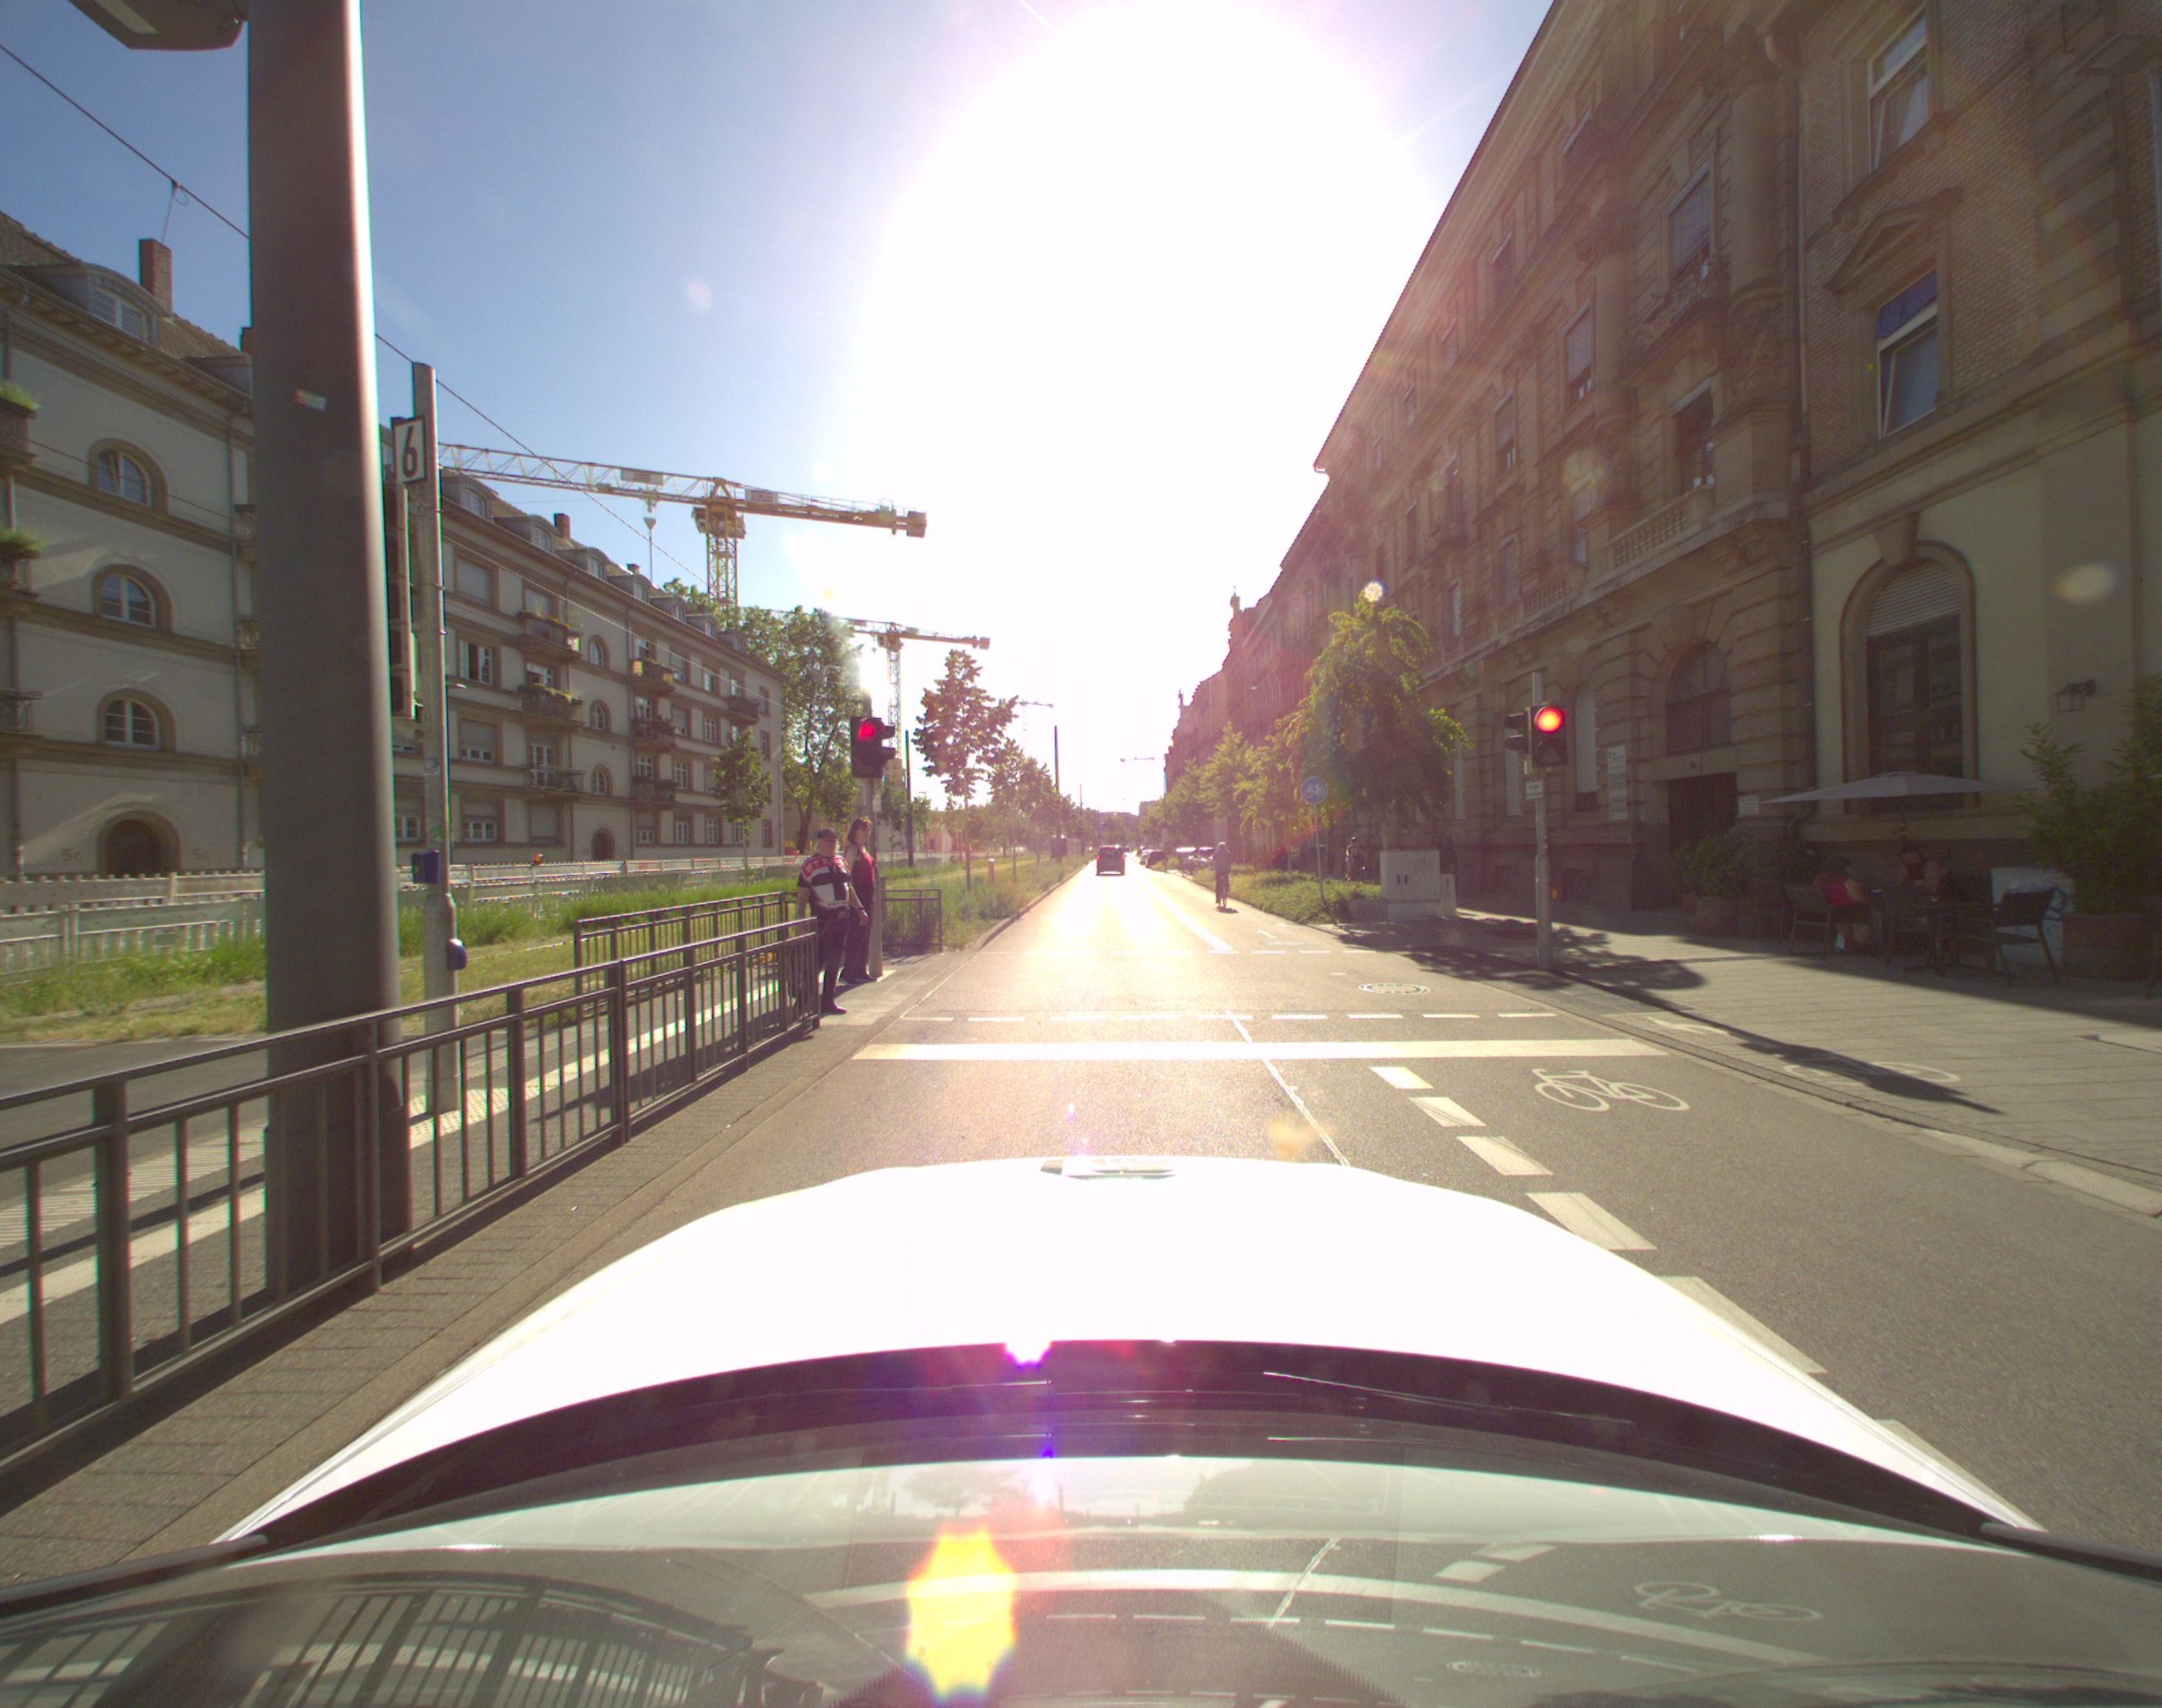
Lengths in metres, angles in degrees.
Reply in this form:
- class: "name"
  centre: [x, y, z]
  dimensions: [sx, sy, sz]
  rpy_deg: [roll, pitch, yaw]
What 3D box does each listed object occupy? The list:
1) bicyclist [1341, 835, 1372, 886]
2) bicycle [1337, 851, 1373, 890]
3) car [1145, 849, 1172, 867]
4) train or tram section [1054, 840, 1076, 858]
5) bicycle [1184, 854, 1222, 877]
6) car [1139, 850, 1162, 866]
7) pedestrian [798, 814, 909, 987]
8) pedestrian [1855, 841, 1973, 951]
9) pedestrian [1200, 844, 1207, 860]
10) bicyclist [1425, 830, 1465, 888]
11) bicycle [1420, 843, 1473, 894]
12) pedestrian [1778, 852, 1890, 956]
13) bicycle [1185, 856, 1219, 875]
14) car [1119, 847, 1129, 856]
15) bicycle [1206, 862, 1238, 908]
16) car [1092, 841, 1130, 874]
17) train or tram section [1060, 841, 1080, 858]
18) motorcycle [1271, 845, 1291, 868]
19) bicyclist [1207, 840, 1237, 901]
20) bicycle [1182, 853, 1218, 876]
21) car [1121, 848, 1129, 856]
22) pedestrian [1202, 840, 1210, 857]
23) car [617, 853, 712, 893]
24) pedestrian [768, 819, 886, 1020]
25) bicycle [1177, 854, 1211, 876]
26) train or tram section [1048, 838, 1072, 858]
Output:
- class: "bicyclist"
  centre: [9.118, 0.198, 26.981]
  dimensions: [0.664, 1.639, 0.961]
  rpy_deg: [-2, 0, 1]
- class: "bicycle"
  centre: [9.104, 0.528, 27.148]
  dimensions: [0.581, 1.222, 1.901]
  rpy_deg: [-1, 0, 2]
- class: "car"
  centre: [6.656, 0.317, 70.279]
  dimensions: [2.020, 1.499, 4.655]
  rpy_deg: [-2, 0, 2]
- class: "train or tram section"
  centre: [-2.407, -0.725, 128.485]
  dimensions: [2.745, 2.742, 9.870]
  rpy_deg: [0, 0, 3]
- class: "bicycle"
  centre: [6.346, 0.607, 42.405]
  dimensions: [1.786, 1.030, 0.528]
  rpy_deg: [-6, 0, 1]
- class: "car"
  centre: [6.974, 0.411, 82.589]
  dimensions: [2.020, 1.499, 4.532]
  rpy_deg: [-2, 0, 2]
- class: "pedestrian"
  centre: [-2.624, 0.512, 9.471]
  dimensions: [1.073, 1.908, 0.652]
  rpy_deg: [-2, 0, -5]
- class: "pedestrian"
  centre: [9.996, 0.487, 9.793]
  dimensions: [0.703, 1.236, 0.635]
  rpy_deg: [-3, 0, 1]
- class: "pedestrian"
  centre: [12.369, -0.198, 82.167]
  dimensions: [0.611, 1.611, 0.669]
  rpy_deg: [-2, 0, 1]
- class: "bicyclist"
  centre: [10.212, 0.126, 22.850]
  dimensions: [0.657, 1.530, 0.801]
  rpy_deg: [-6, 0, 3]
- class: "bicycle"
  centre: [10.266, 0.388, 22.961]
  dimensions: [0.613, 1.330, 1.901]
  rpy_deg: [-6, 0, 3]
- class: "pedestrian"
  centre: [9.039, 0.580, 9.803]
  dimensions: [0.703, 1.178, 0.635]
  rpy_deg: [-3, 0, 1]
- class: "bicycle"
  centre: [6.732, 0.634, 45.338]
  dimensions: [1.786, 1.030, 0.528]
  rpy_deg: [-2, 0, 1]
- class: "car"
  centre: [8.911, -0.477, 169.255]
  dimensions: [1.986, 1.729, 4.001]
  rpy_deg: [0, 0, 2]
- class: "bicycle"
  centre: [3.944, 0.843, 22.828]
  dimensions: [0.599, 1.181, 1.870]
  rpy_deg: [0, 0, 1]
- class: "car"
  centre: [1.887, 0.195, 51.461]
  dimensions: [2.192, 1.926, 4.655]
  rpy_deg: [-2, 0, 1]
- class: "train or tram section"
  centre: [-1.885, -0.675, 138.302]
  dimensions: [2.745, 2.742, 9.870]
  rpy_deg: [0, 0, 3]
- class: "motorcycle"
  centre: [11.499, 0.113, 46.940]
  dimensions: [0.697, 1.267, 1.983]
  rpy_deg: [-2, 0, 2]
- class: "bicyclist"
  centre: [3.973, 0.457, 22.984]
  dimensions: [0.682, 1.673, 0.922]
  rpy_deg: [0, 0, 1]
- class: "bicycle"
  centre: [6.378, 0.558, 43.778]
  dimensions: [1.786, 1.030, 0.528]
  rpy_deg: [-6, 0, 1]
- class: "car"
  centre: [10.793, -0.525, 199.947]
  dimensions: [1.986, 1.838, 4.001]
  rpy_deg: [0, 0, 2]
- class: "pedestrian"
  centre: [11.774, -0.531, 76.940]
  dimensions: [0.611, 1.611, 0.669]
  rpy_deg: [-2, 0, 1]
- class: "car"
  centre: [-17.467, 0.746, 34.392]
  dimensions: [1.809, 1.516, 4.002]
  rpy_deg: [-2, 0, 2]
- class: "pedestrian"
  centre: [-2.387, 0.580, 7.778]
  dimensions: [0.863, 1.788, 0.969]
  rpy_deg: [-1, 0, -5]
- class: "bicycle"
  centre: [6.491, 0.629, 46.863]
  dimensions: [1.786, 1.030, 0.528]
  rpy_deg: [-6, 0, 1]
- class: "train or tram section"
  centre: [-2.923, -0.774, 118.644]
  dimensions: [2.745, 2.742, 9.870]
  rpy_deg: [0, 0, 3]
